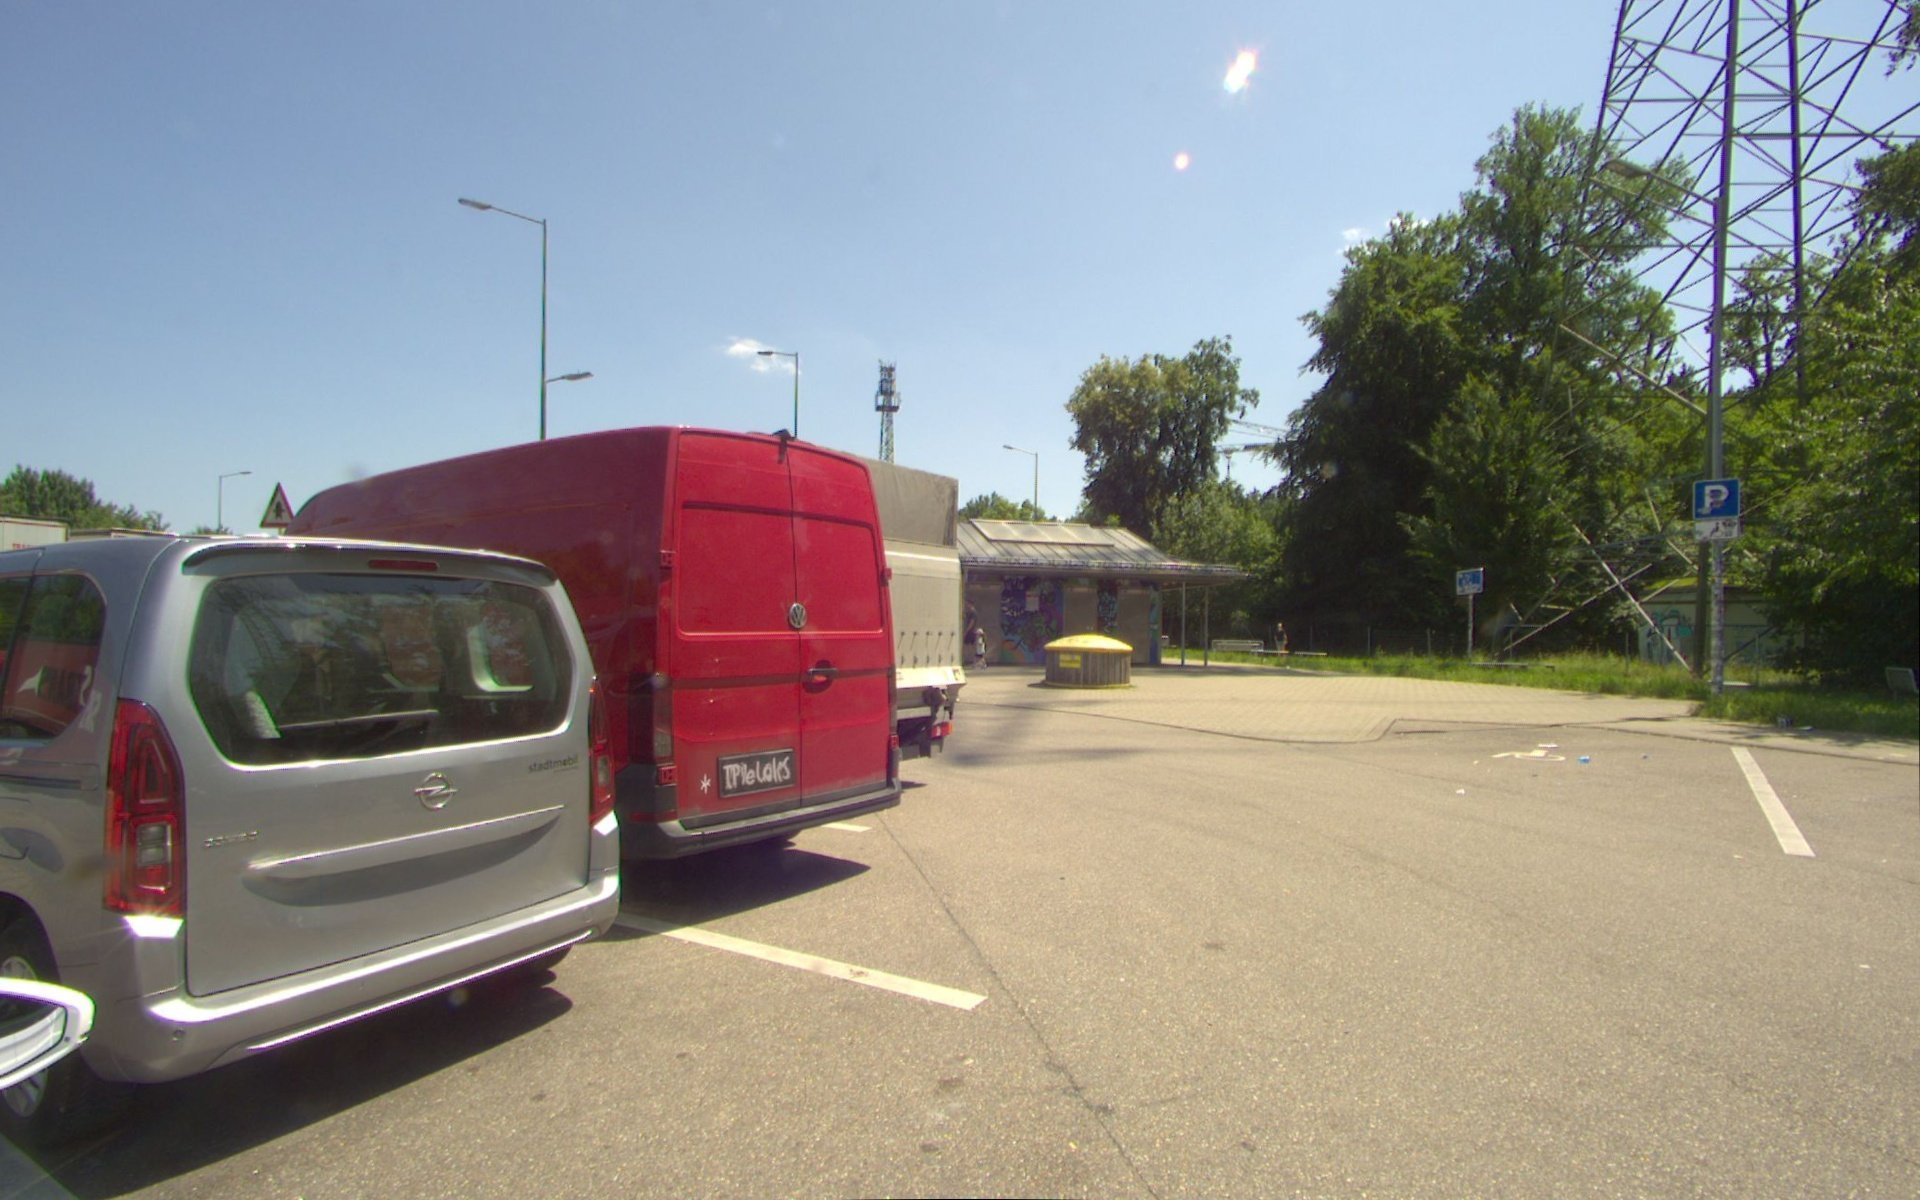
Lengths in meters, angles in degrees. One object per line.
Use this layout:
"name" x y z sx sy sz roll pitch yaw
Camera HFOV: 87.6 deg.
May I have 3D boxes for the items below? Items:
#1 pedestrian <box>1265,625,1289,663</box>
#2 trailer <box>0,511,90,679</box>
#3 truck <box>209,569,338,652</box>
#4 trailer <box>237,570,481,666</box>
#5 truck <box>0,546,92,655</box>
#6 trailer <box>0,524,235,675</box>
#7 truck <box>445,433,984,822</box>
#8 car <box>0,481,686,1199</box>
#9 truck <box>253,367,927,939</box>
"pedestrian" 14.009 1.922 44.258 0.729 1.658 0.785 -1 -2 45
"trailer" -28.997 -0.260 28.139 14.184 4.040 2.808 2 -2 33
"truck" -32.073 0.466 46.758 5.813 3.566 2.799 2 -2 33
"trailer" -26.079 0.645 42.900 14.184 3.552 2.808 2 -2 33
"truck" -33.751 -0.008 35.514 5.813 3.566 2.799 2 -2 33
"trailer" -27.933 -0.102 31.785 14.184 4.040 2.808 2 -2 33
"truck" -2.718 0.305 10.284 5.582 2.949 2.449 -2 -2 37
"car" -3.362 0.688 4.245 4.113 1.887 1.868 1 -2 31
"truck" -2.870 0.338 7.045 5.238 2.655 1.972 -2 -2 38
